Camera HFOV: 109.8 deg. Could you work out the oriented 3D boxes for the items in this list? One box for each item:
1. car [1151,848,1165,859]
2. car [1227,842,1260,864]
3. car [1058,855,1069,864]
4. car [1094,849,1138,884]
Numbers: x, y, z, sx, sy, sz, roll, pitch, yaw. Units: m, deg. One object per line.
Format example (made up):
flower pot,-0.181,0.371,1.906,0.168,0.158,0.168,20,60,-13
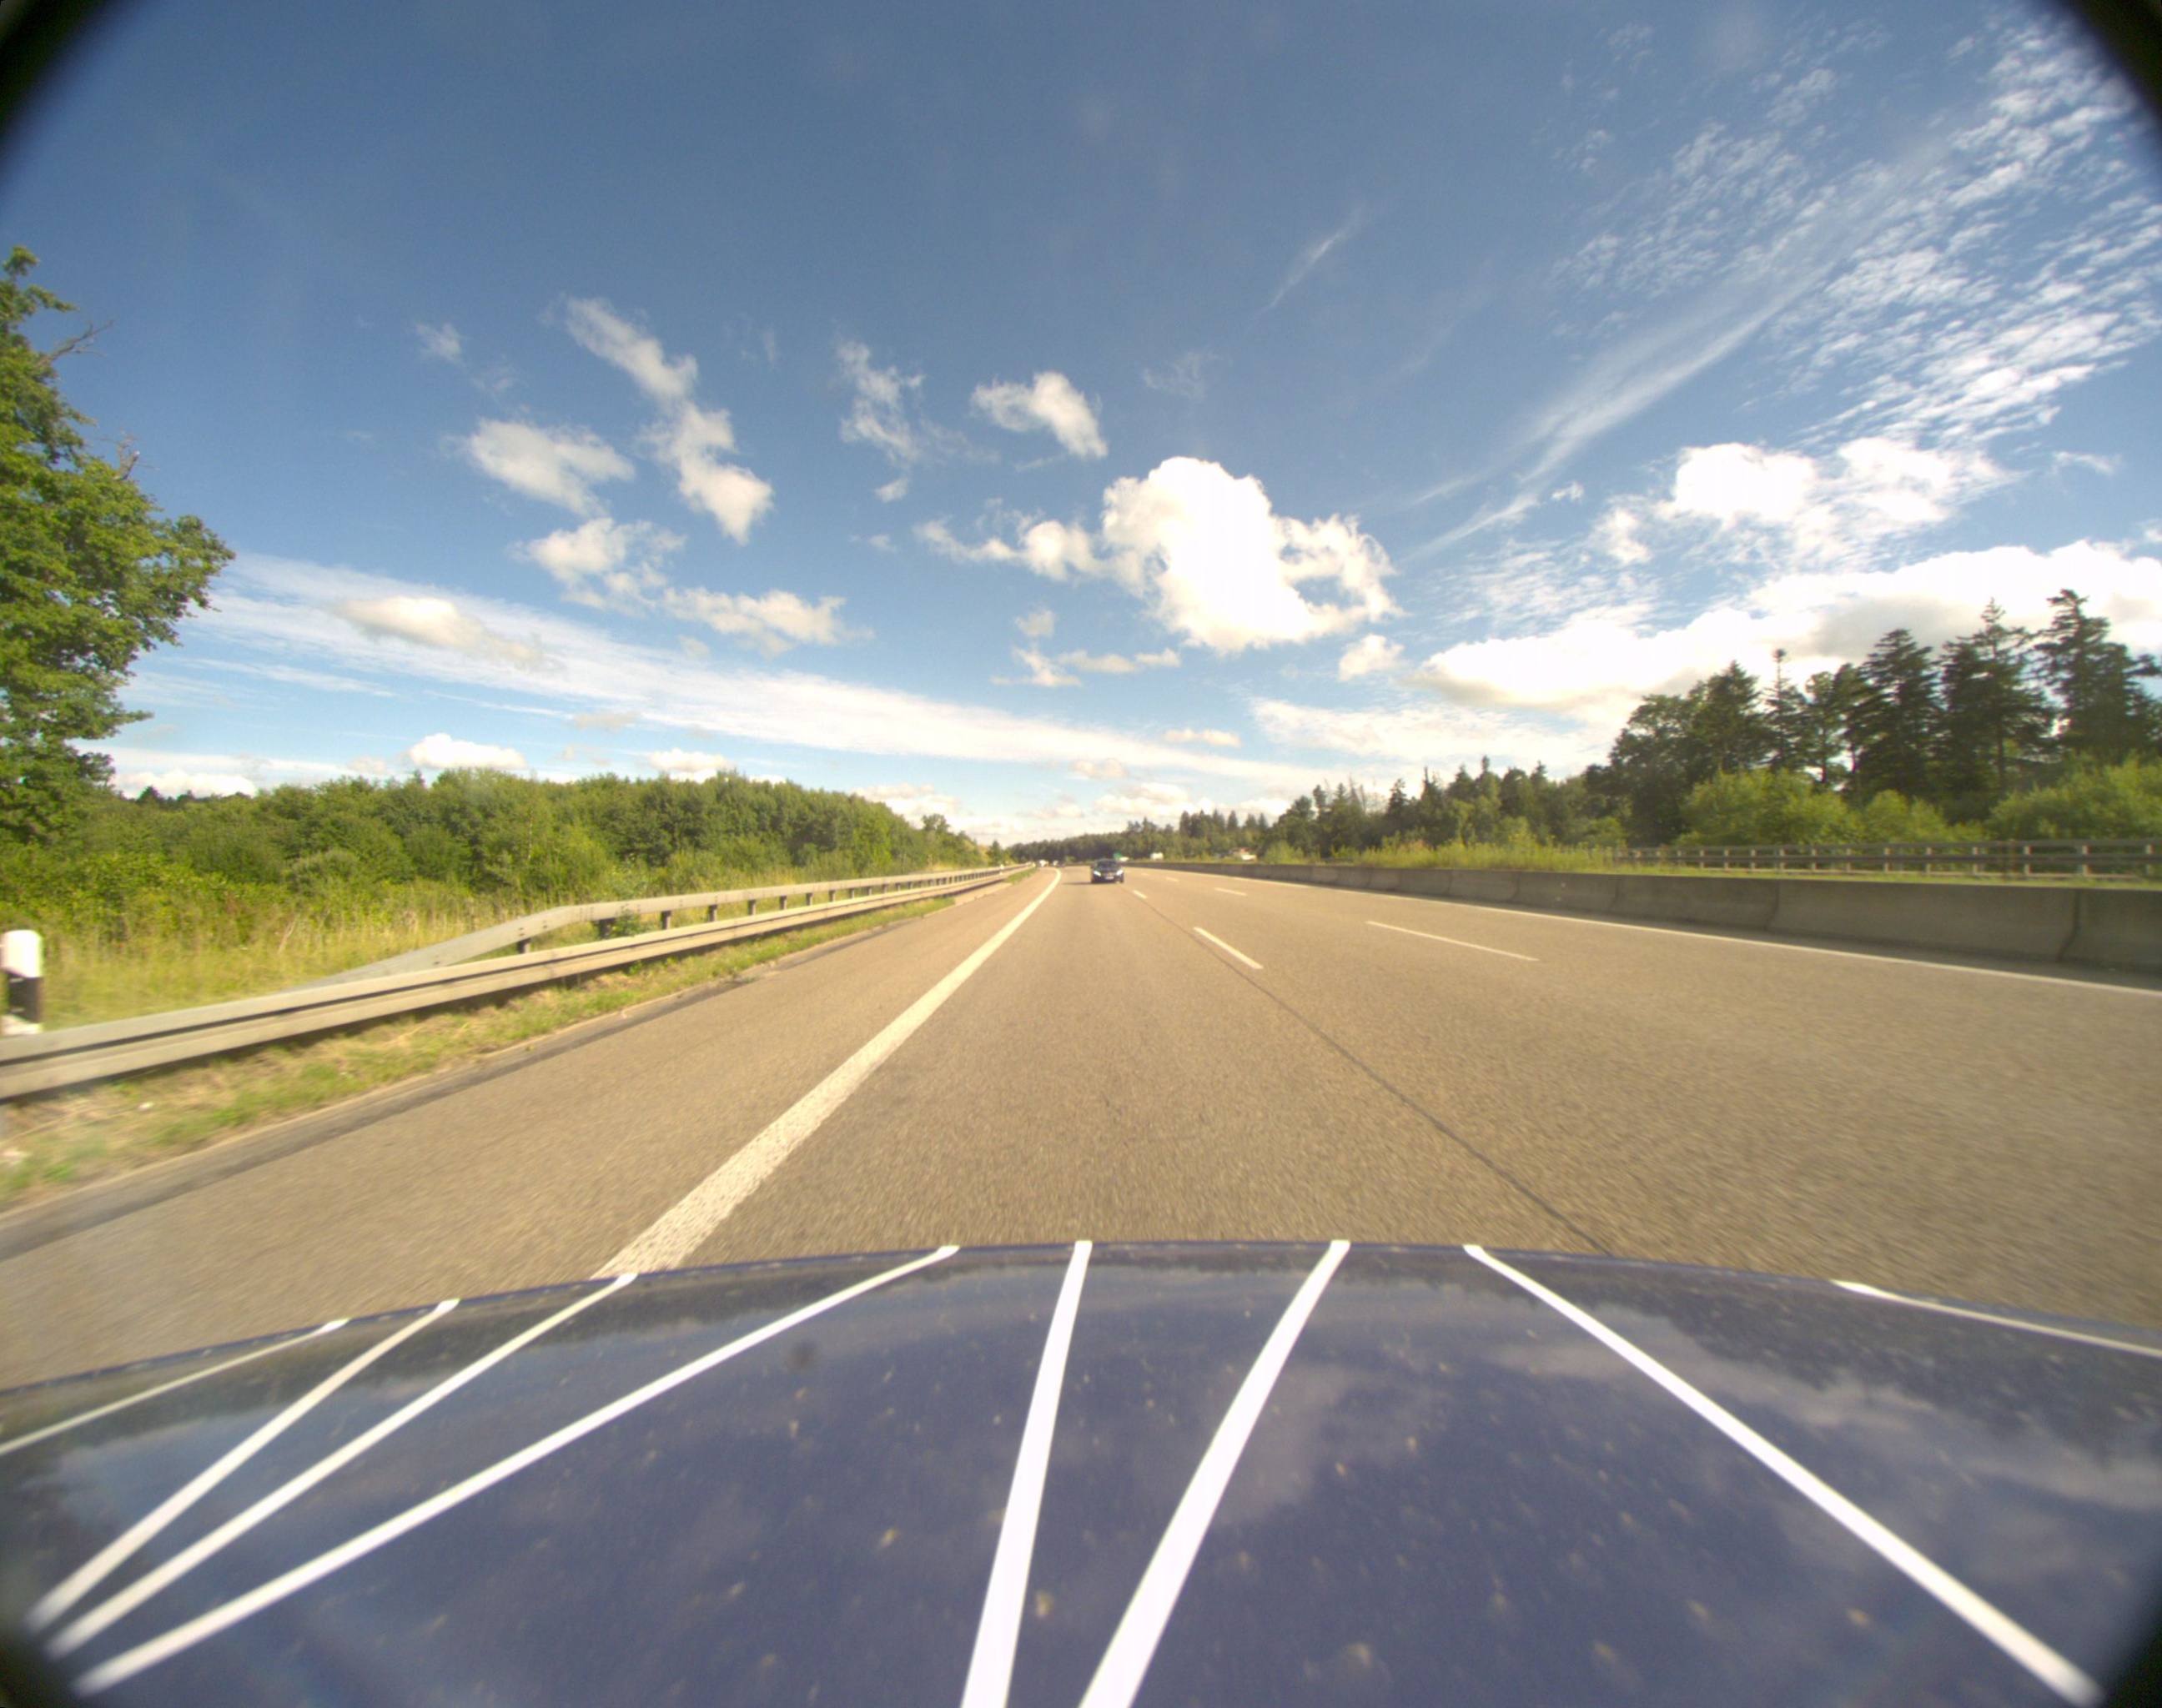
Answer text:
car,16.121,-0.145,159.262,2.070,2.231,5.203,-2,0,-1
car,19.056,-0.135,89.300,2.316,2.304,6.192,-5,0,0
car,-3.920,1.195,171.941,1.998,2.002,4.001,-3,0,2
car,1.914,0.672,42.688,1.999,1.827,3.999,-2,0,-3
